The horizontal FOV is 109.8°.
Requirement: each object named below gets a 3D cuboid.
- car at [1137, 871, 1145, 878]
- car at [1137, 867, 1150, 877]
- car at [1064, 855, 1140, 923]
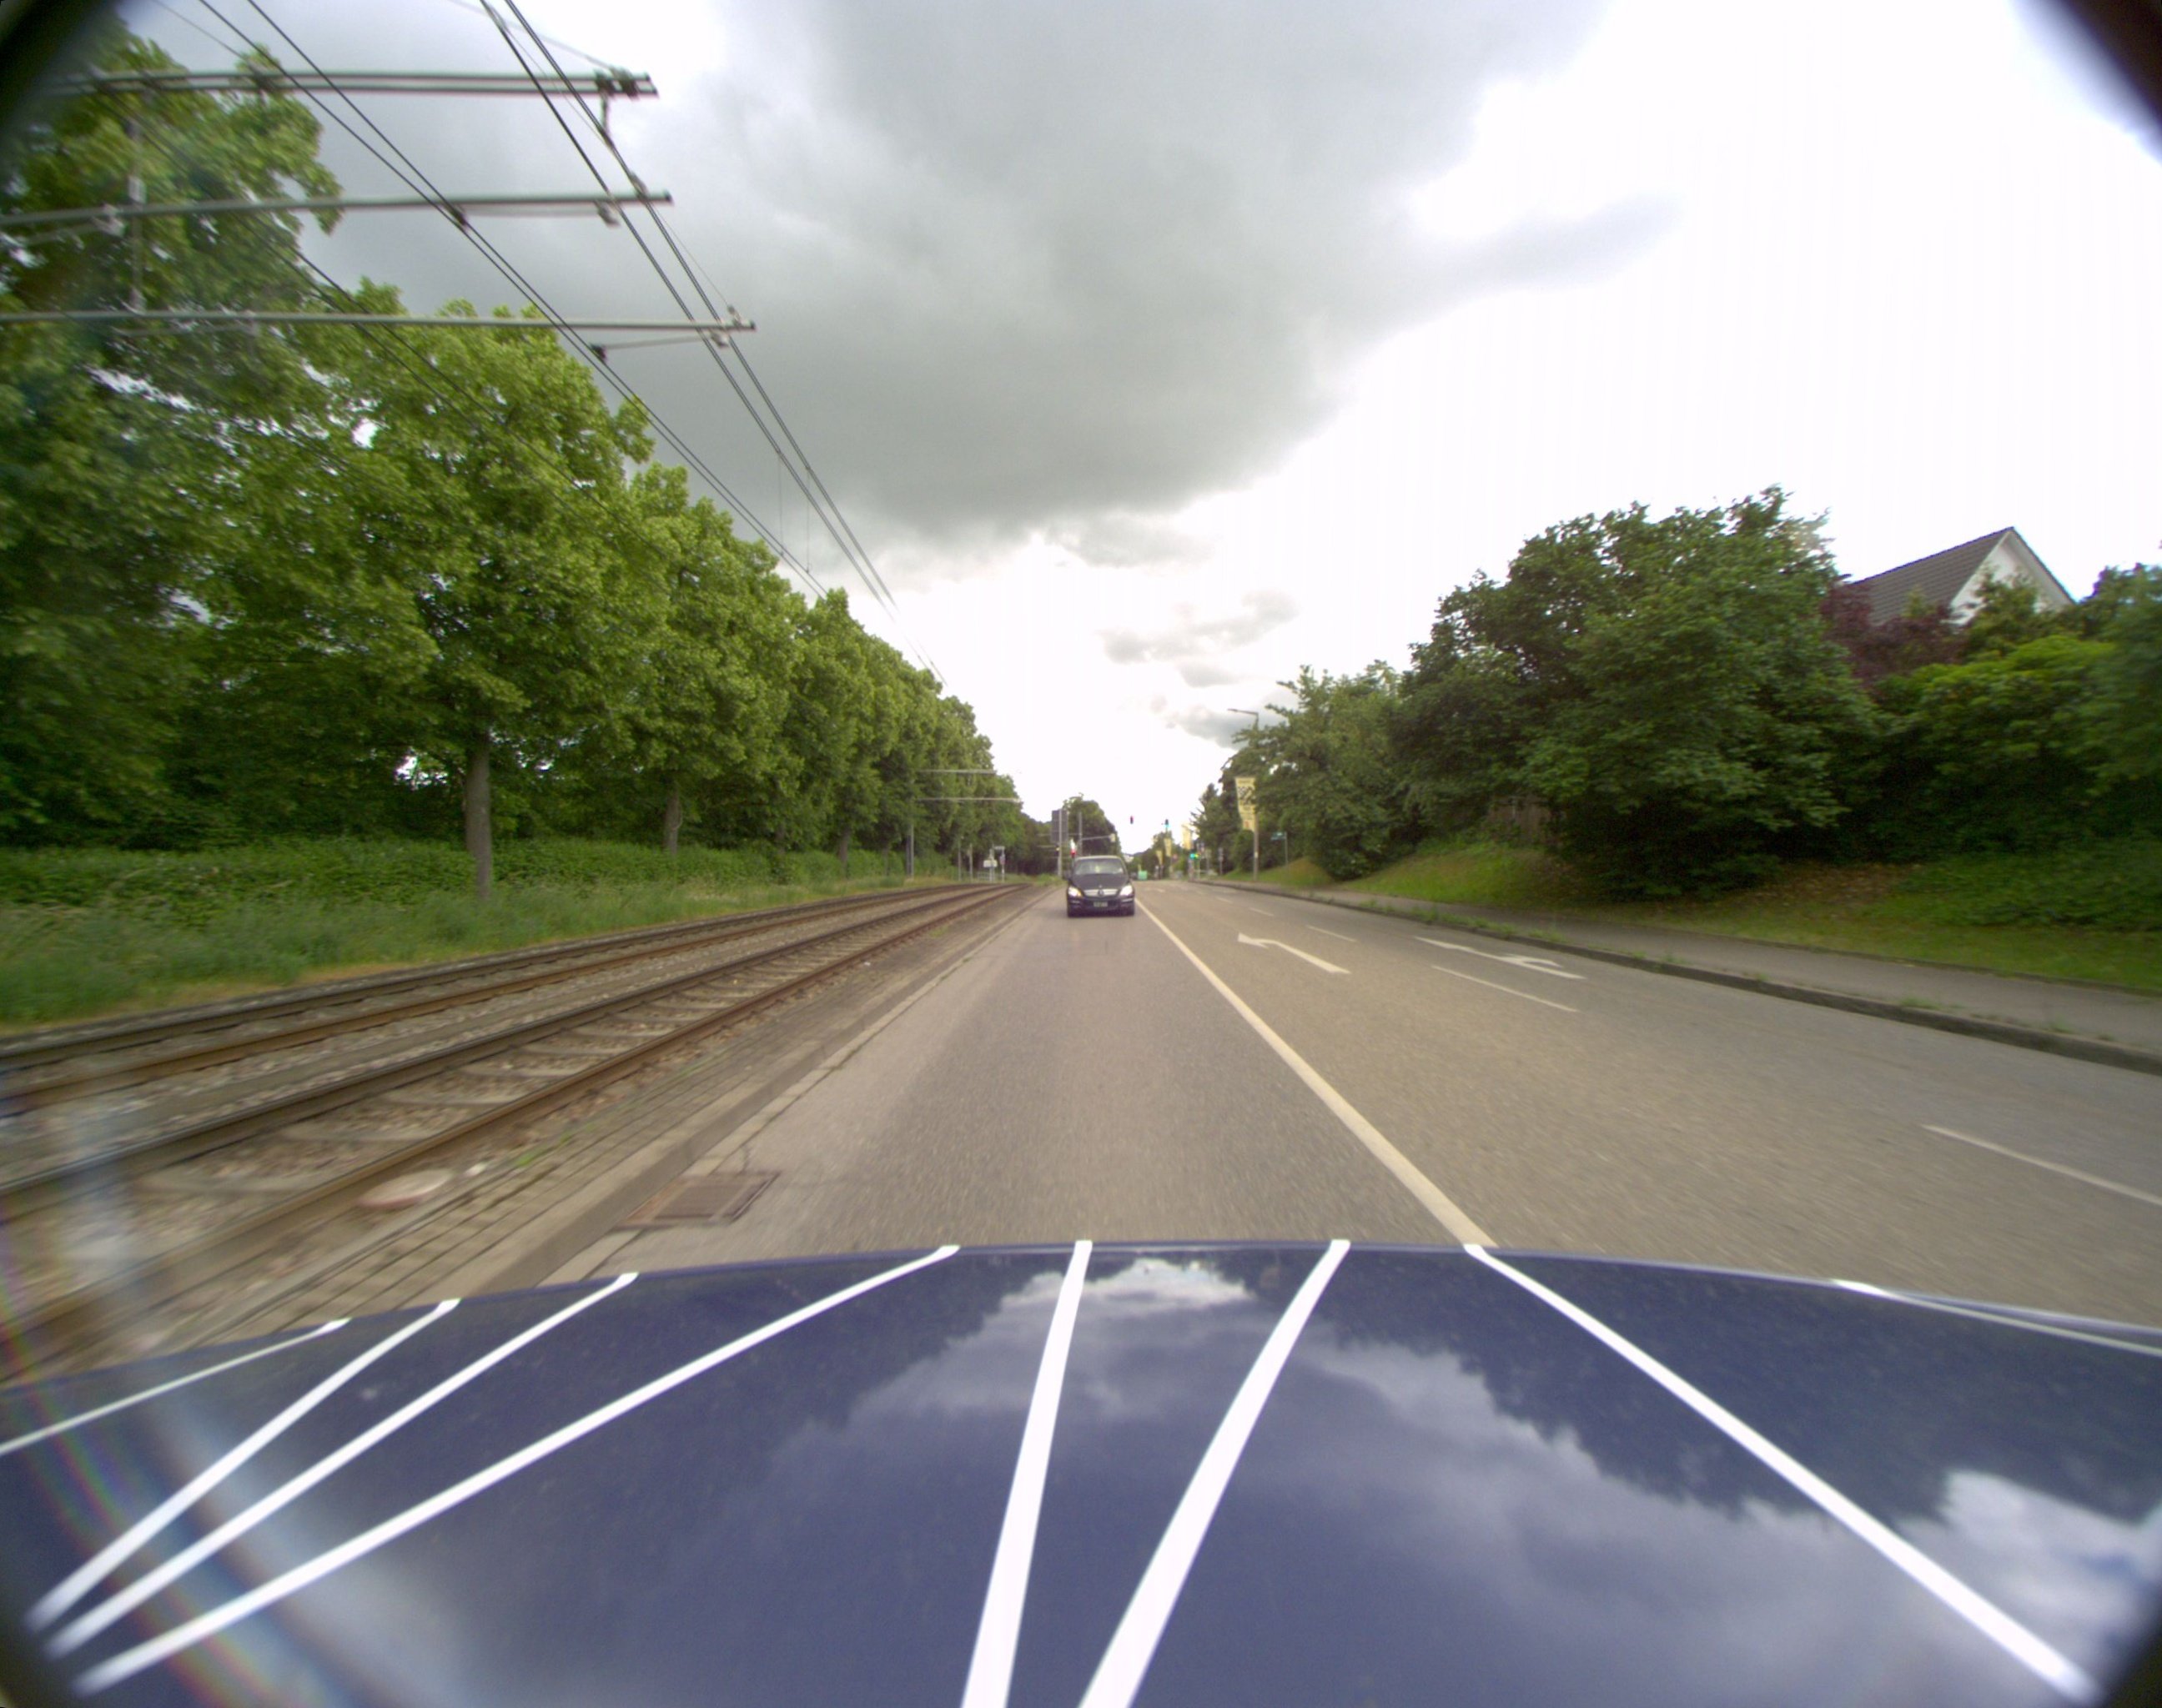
[{"bbox_3d":[14.443,4.975,182.380,1.903,1.569,4.280,-1,0,3],"label":"car"},{"bbox_3d":[11.584,3.339,141.352,2.063,1.799,4.731,1,-1,2],"label":"car"},{"bbox_3d":[0.525,0.845,19.990,1.749,1.558,4.122,-2,0,1],"label":"car"}]
